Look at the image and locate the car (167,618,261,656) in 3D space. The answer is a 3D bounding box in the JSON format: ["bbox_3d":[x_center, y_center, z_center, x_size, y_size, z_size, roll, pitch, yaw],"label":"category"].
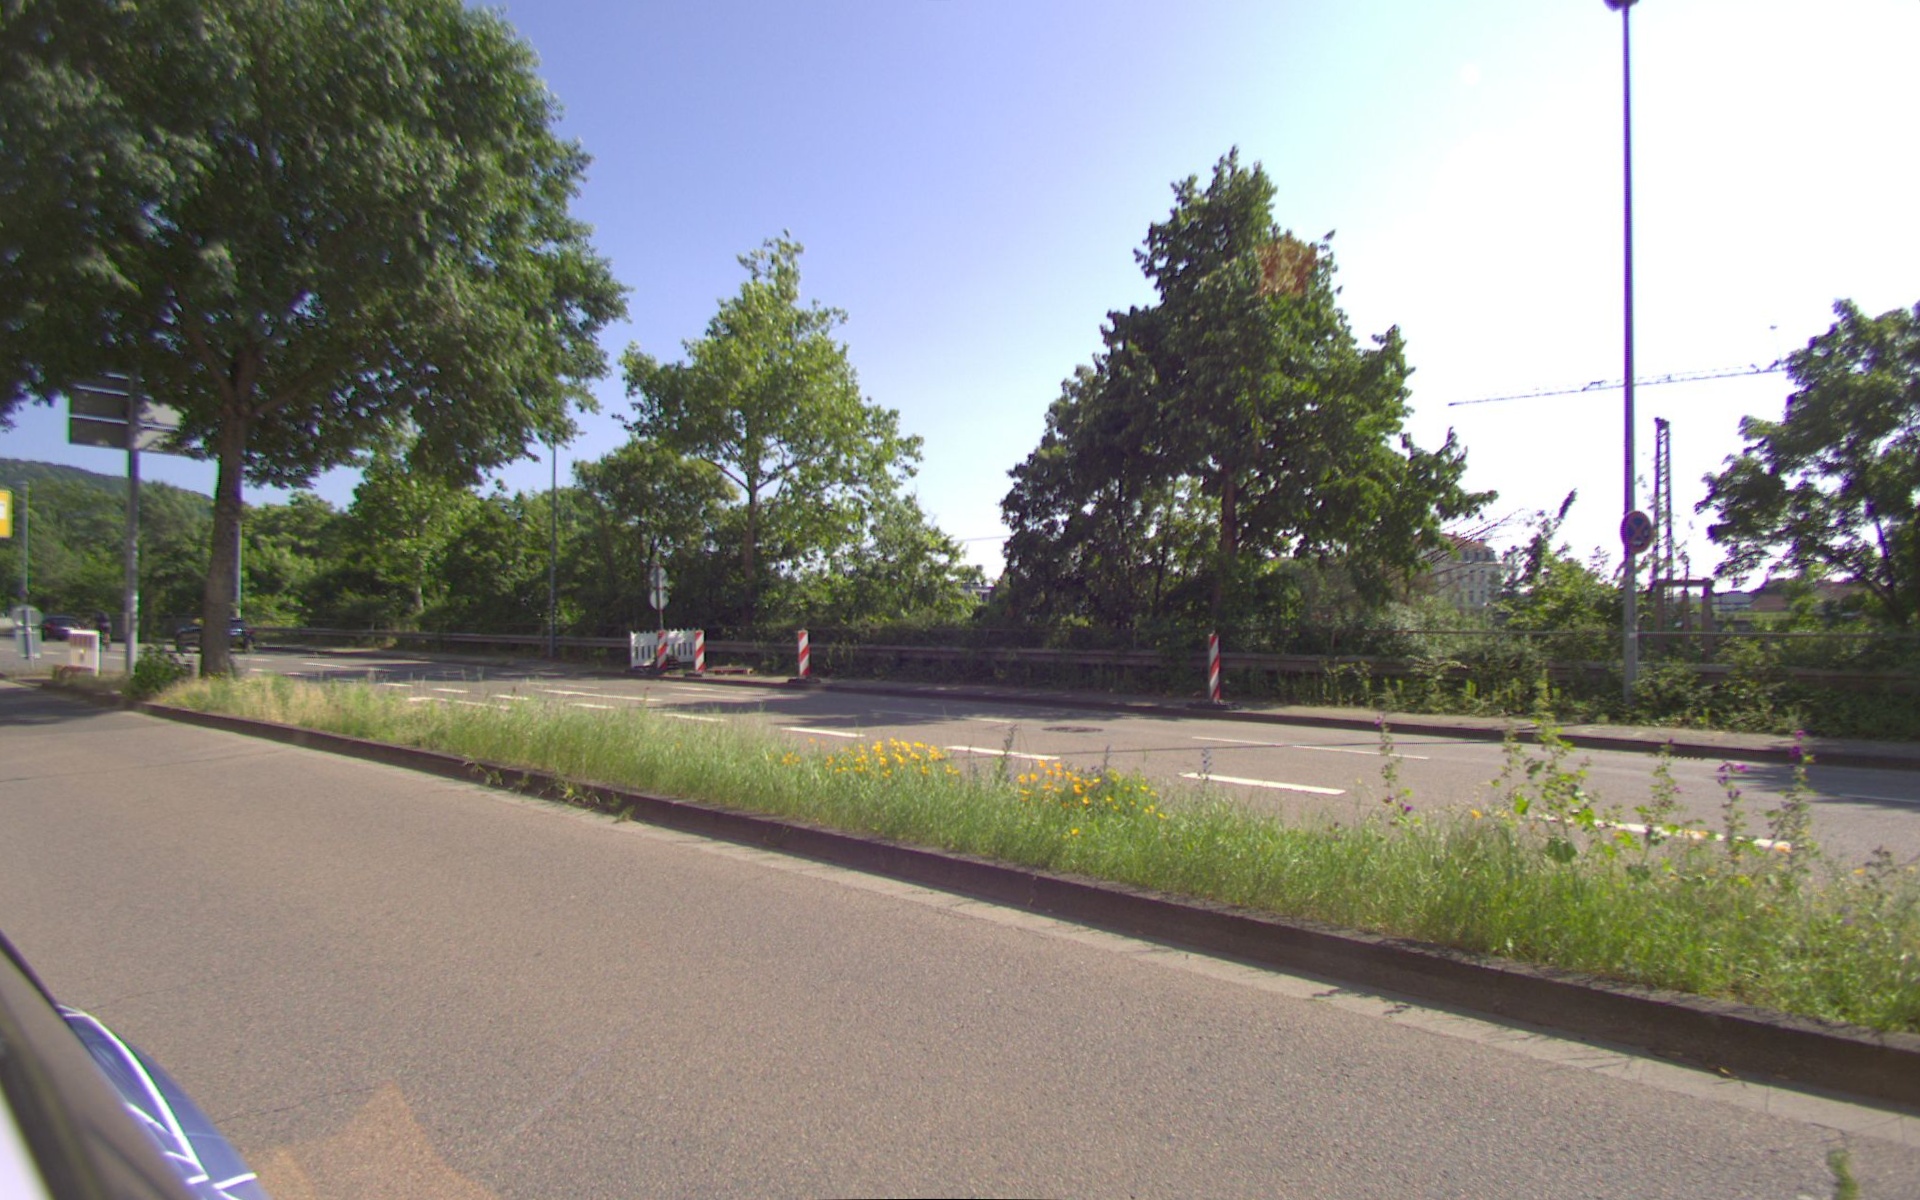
[{"bbox_3d":[-32.006,1.559,43.371,4.690,1.540,1.975,-1,-3,37],"label":"car"}]

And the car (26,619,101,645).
[{"bbox_3d":[-50.639,1.792,57.135,4.601,1.422,1.978,-1,-3,33],"label":"car"}]

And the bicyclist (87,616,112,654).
[{"bbox_3d":[-35.771,1.456,42.076,0.777,1.545,0.568,-1,-2,35],"label":"bicyclist"}]

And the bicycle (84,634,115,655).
[{"bbox_3d":[-35.779,1.848,42.077,1.801,0.839,0.489,-1,-2,34],"label":"bicycle"}]
